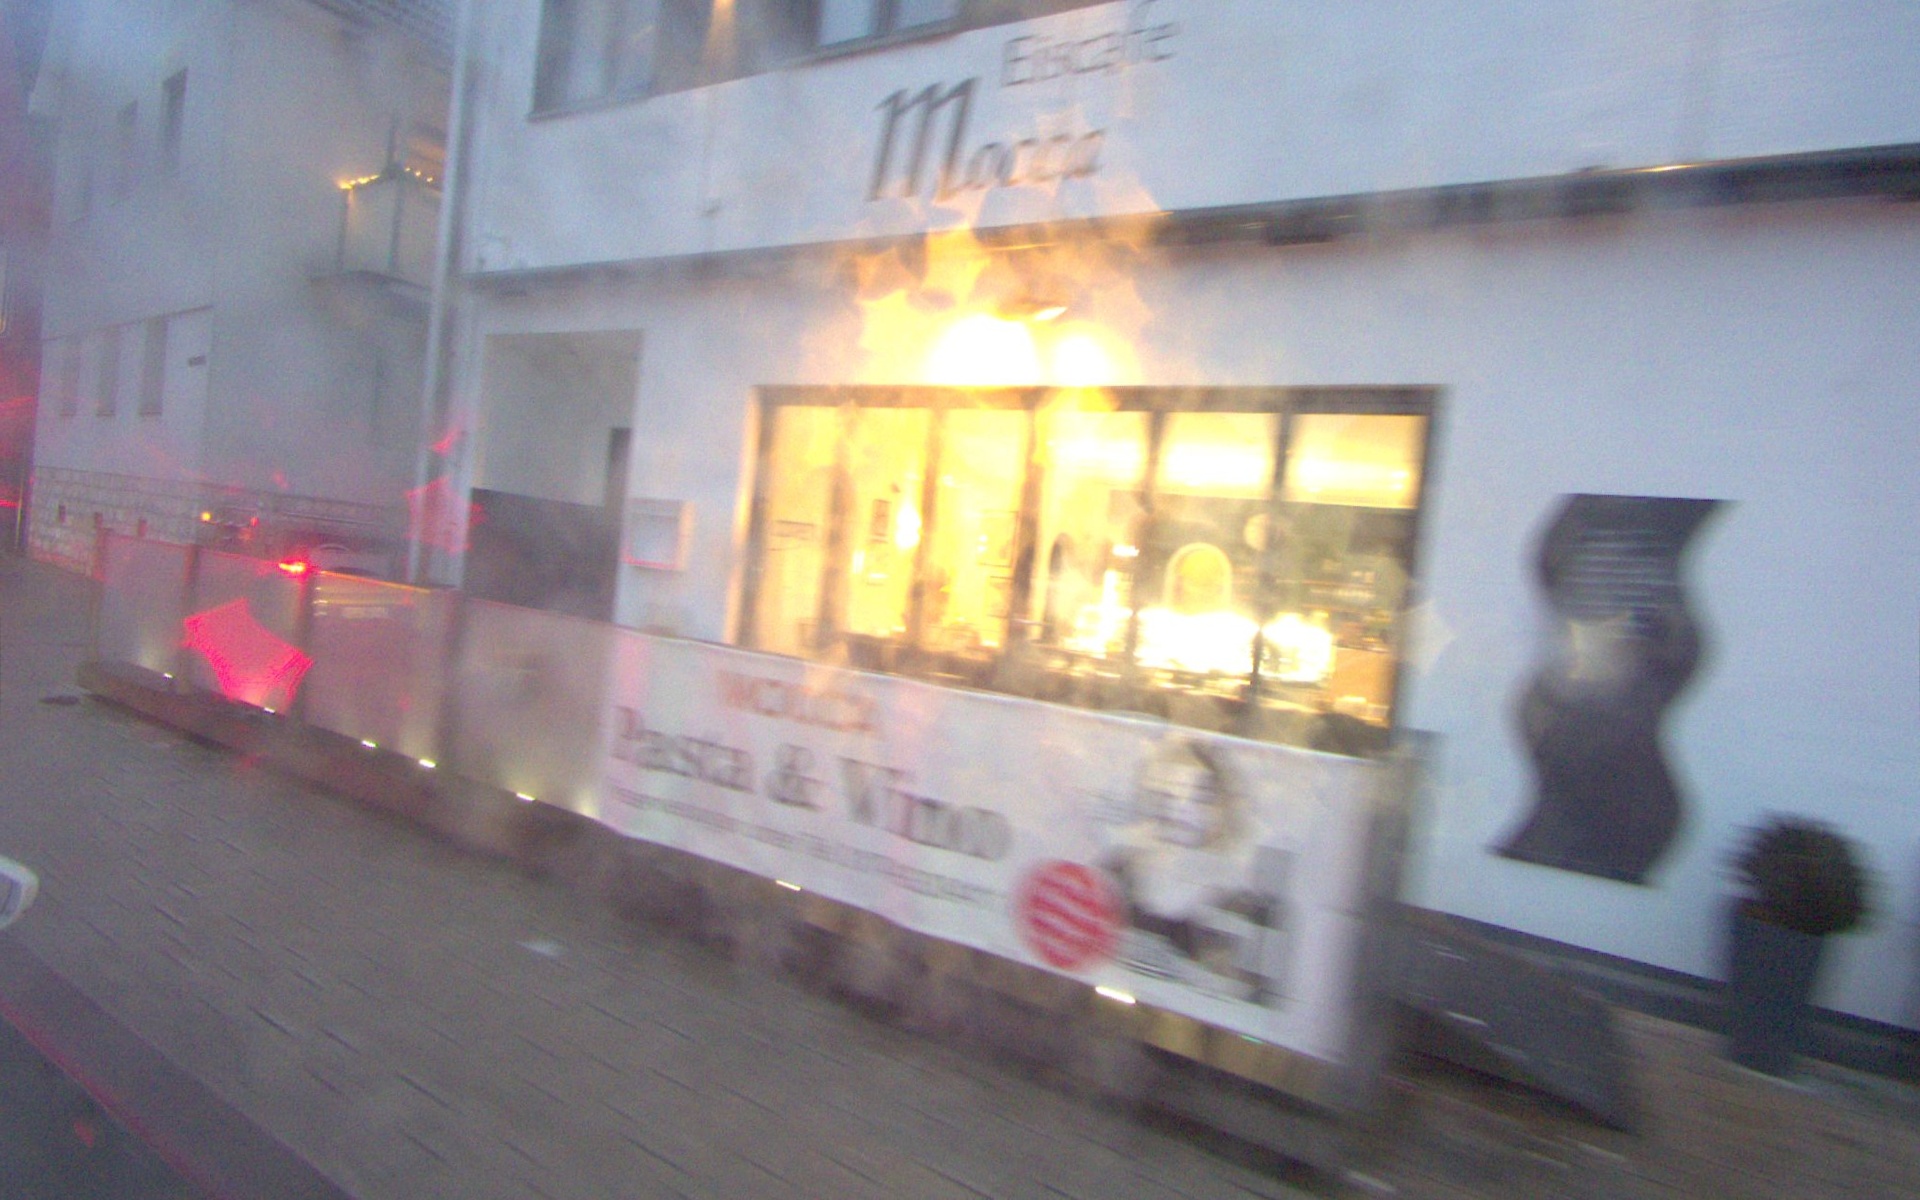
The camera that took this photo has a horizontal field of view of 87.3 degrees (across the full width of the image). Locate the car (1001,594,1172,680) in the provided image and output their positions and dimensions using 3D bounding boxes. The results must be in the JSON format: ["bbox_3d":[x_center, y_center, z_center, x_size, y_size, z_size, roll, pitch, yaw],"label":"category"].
[{"bbox_3d":[2.828,0.797,21.888,1.906,1.434,3.947,10,4,35],"label":"car"}]
